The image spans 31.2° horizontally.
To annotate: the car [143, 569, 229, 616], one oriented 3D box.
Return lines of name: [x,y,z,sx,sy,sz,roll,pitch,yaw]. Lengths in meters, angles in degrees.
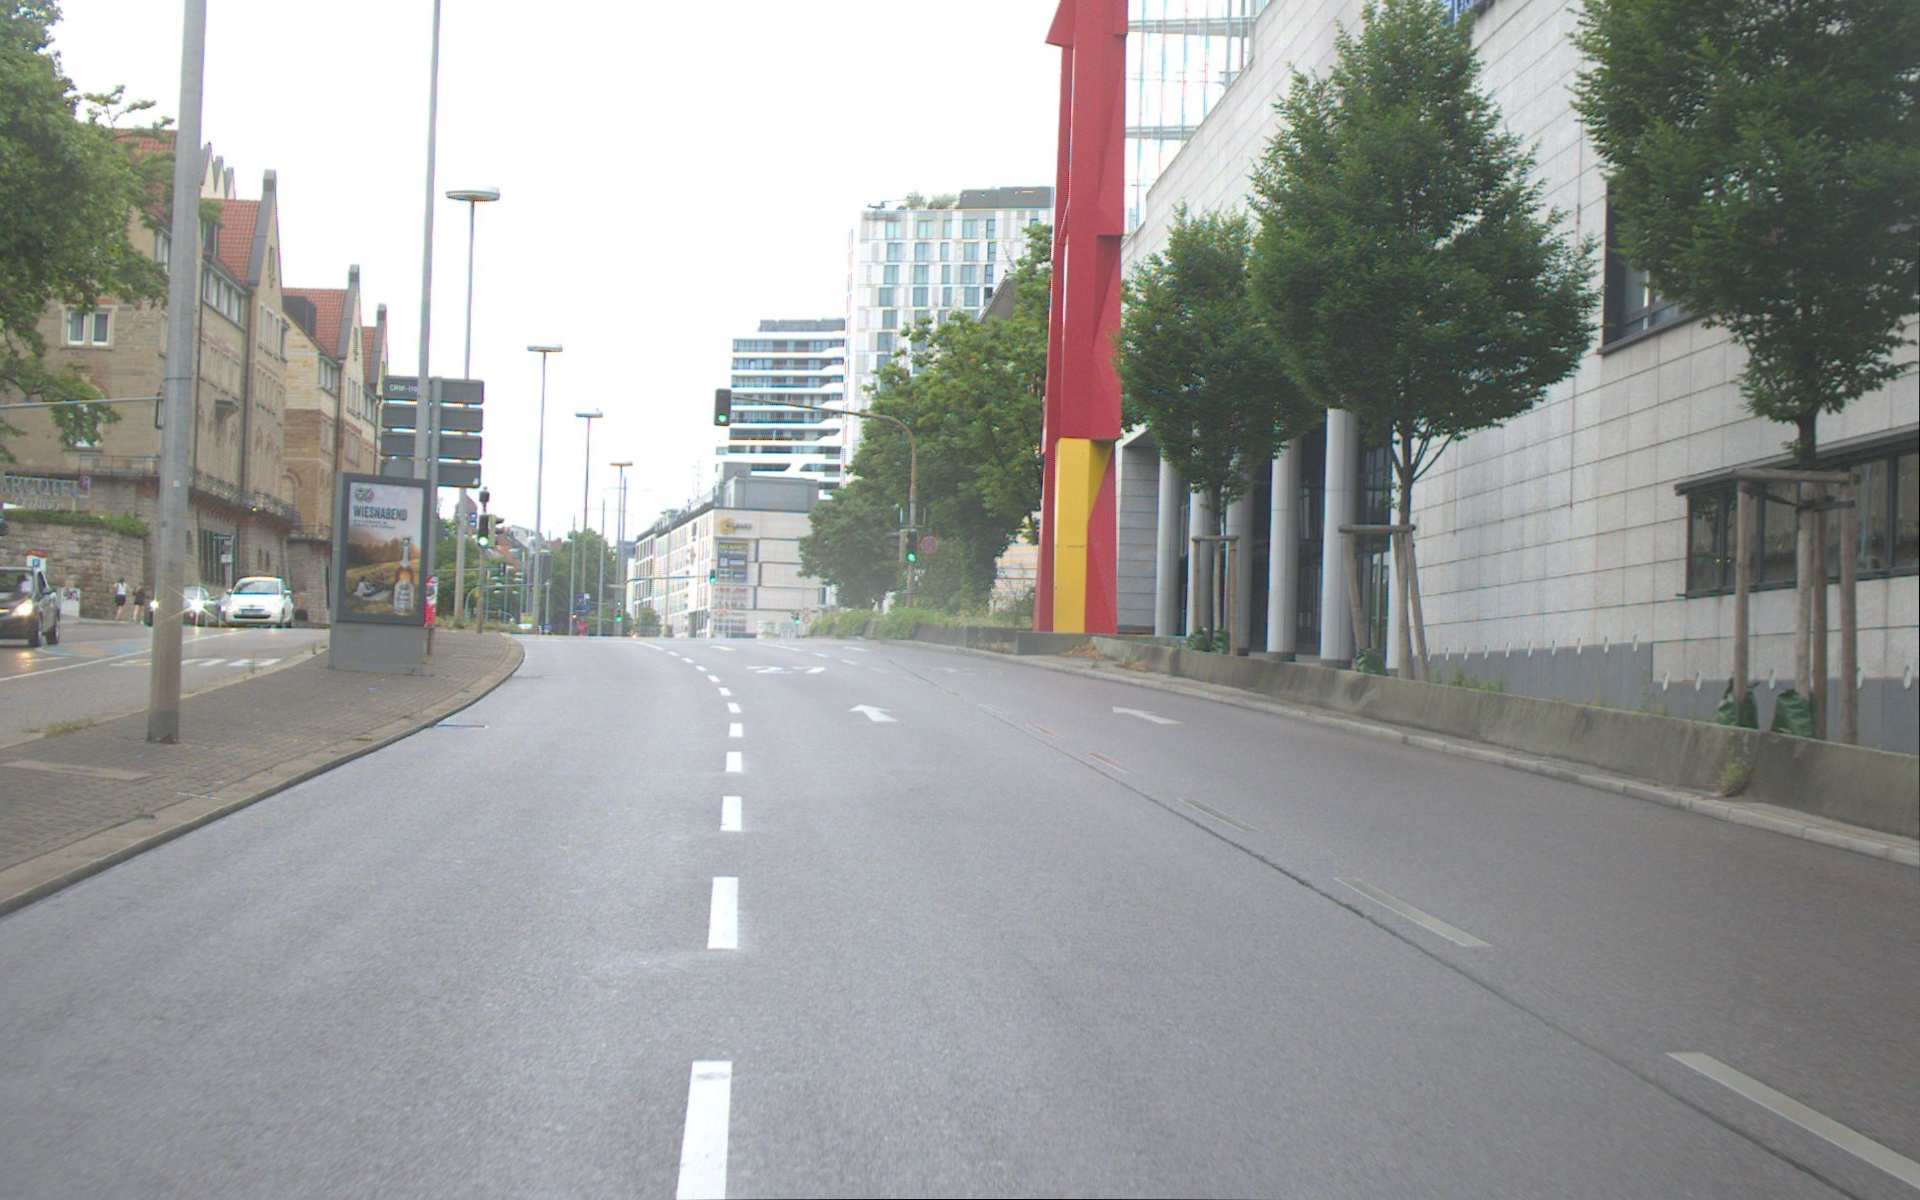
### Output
car: [-23.676,-0.218,105.305,1.819,1.380,4.000,0,-1,-1]

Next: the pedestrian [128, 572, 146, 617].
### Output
pedestrian: [-29.909,-0.194,124.930,0.498,1.605,0.500,2,-1,-1]

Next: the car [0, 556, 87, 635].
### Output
car: [-17.336,-0.064,62.870,1.819,1.398,4.000,0,-1,-1]

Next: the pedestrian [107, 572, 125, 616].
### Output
pedestrian: [-30.674,-0.219,124.929,0.498,1.605,0.500,2,-1,-1]

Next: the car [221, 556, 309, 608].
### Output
car: [-20.065,-0.507,99.336,1.819,1.463,4.000,0,-1,-1]
